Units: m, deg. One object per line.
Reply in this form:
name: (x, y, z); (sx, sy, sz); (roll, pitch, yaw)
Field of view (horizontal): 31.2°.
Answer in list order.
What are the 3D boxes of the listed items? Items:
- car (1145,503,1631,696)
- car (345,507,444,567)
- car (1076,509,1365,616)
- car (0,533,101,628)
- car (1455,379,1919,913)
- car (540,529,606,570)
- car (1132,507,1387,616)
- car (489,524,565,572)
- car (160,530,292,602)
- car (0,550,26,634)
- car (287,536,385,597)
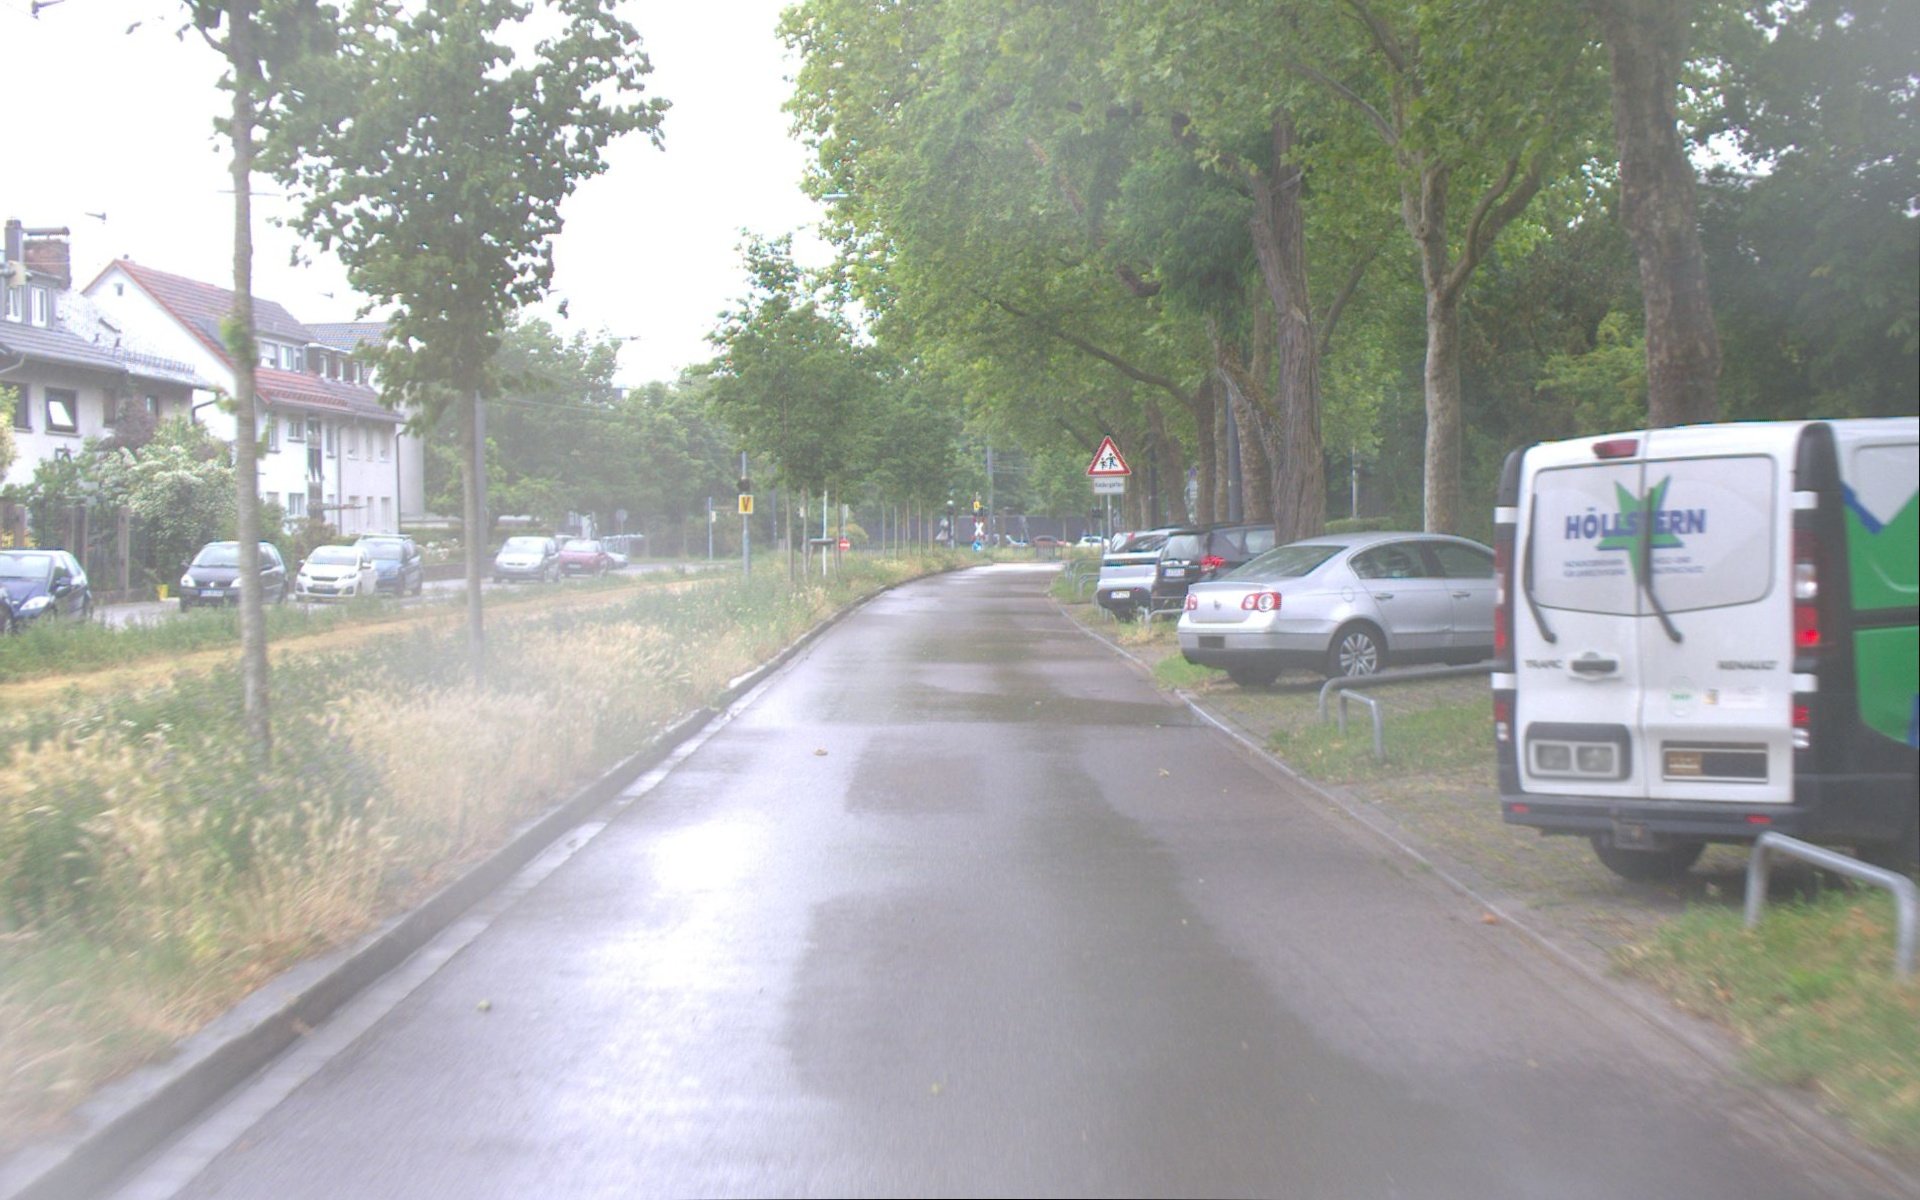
car: (4.270, -0.050, 34.064); (4.546, 1.539, 1.888); (-5, 3, -32)
car: (-16.083, -1.816, 97.970); (1.993, 1.608, 4.413); (1, 2, 1)
car: (4.495, -0.661, 59.045); (4.761, 1.662, 1.994); (-3, 2, -36)
car: (-16.557, -0.366, 60.560); (1.873, 1.545, 3.870); (1, 2, 0)
car: (4.756, 0.034, 15.215); (5.014, 2.006, 2.000); (-4, 3, -35)
car: (-15.052, -1.971, 134.013); (1.993, 1.483, 4.205); (1, 2, 1)
car: (4.673, -0.613, 53.550); (3.702, 1.561, 1.619); (-3, 2, -32)
car: (-15.124, -1.834, 120.270); (1.993, 1.575, 4.517); (1, 2, 1)
car: (-16.560, -0.797, 77.722); (1.993, 1.511, 4.205); (1, 2, 1)
car: (-16.673, -0.110, 55.414); (1.993, 1.346, 4.240); (1, 2, 1)
car: (-16.211, -0.890, 89.485); (1.796, 1.483, 3.597); (1, 2, 1)
